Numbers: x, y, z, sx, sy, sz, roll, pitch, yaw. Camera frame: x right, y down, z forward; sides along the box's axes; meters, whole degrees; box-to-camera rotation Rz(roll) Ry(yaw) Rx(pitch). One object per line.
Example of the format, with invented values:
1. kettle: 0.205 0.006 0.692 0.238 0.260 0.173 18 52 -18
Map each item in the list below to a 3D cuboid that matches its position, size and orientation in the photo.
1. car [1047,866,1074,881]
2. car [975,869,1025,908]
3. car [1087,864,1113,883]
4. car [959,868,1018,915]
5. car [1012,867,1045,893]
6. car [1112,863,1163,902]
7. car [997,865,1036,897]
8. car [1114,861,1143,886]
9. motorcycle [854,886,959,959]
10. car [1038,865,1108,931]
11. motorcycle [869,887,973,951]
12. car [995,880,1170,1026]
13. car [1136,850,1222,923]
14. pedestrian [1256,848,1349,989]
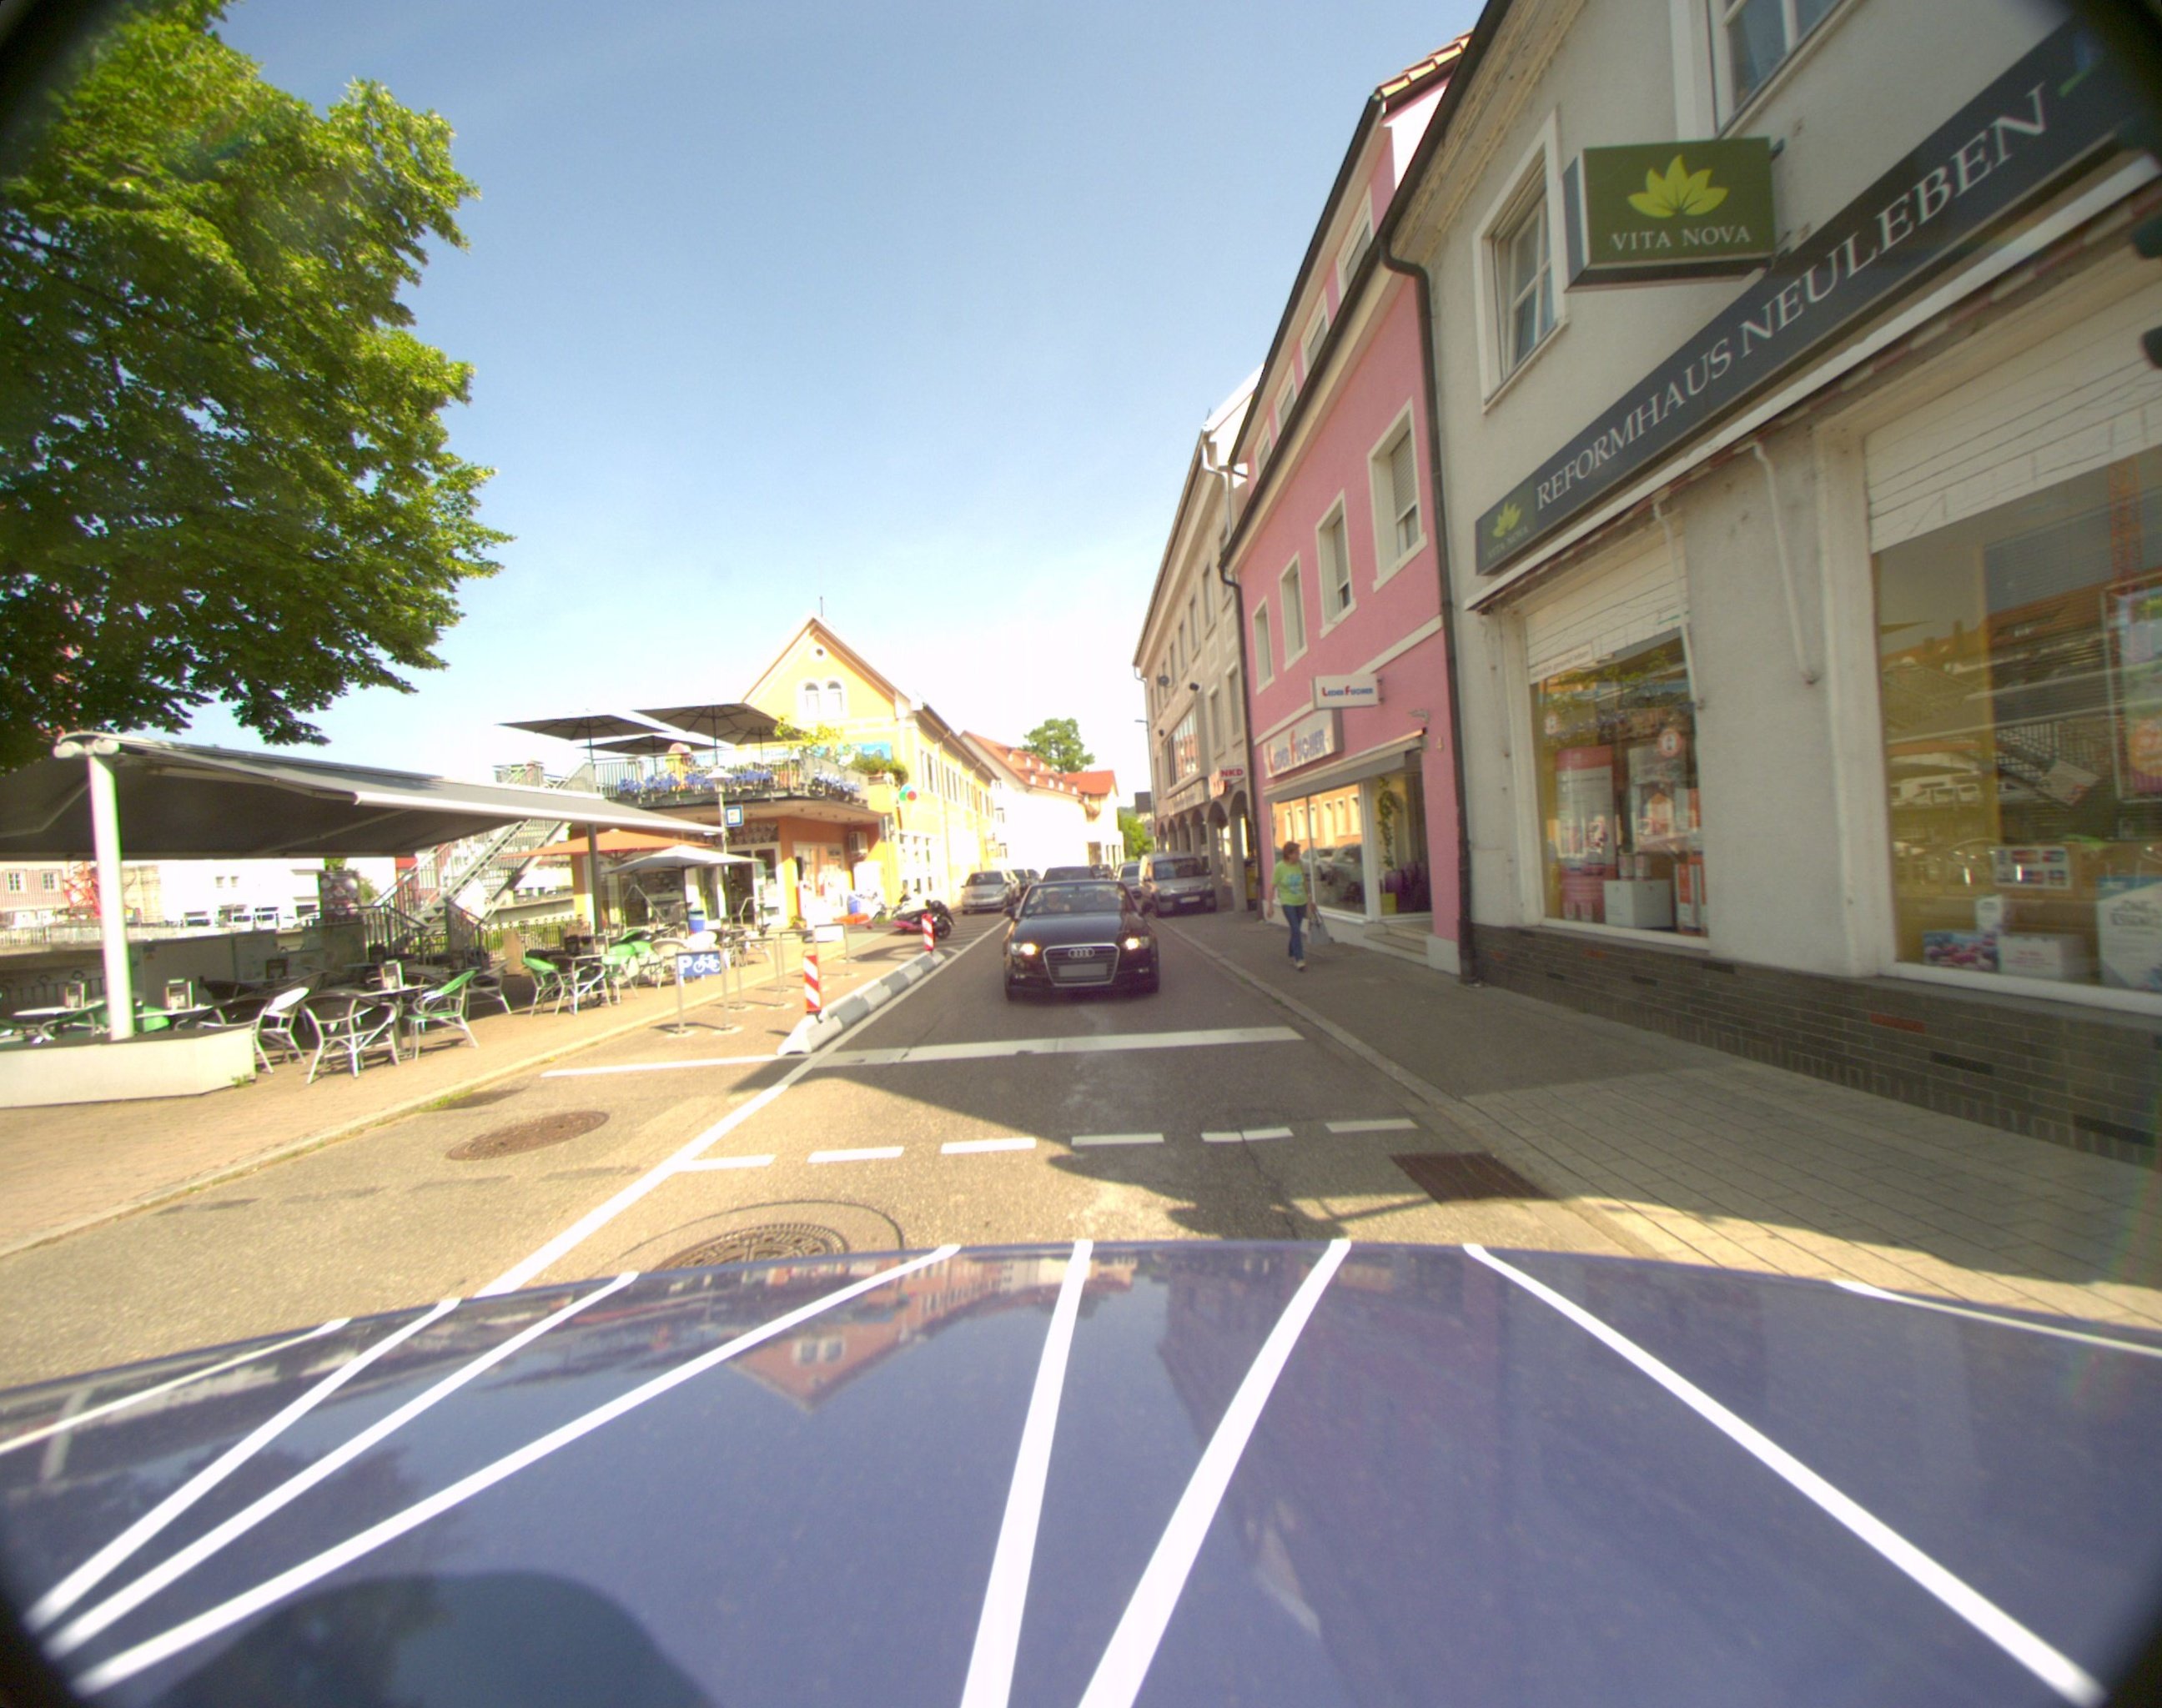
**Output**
1. car: -1.850 1.762 69.985 1.526 1.236 4.038 -3 -1 11
2. car: -3.665 1.536 34.981 1.683 1.549 4.104 -4 -1 1
3. car: 1.718 1.709 66.745 1.682 1.551 3.344 -3 -1 10
4. car: -3.569 1.410 30.000 1.750 1.587 4.594 -4 -1 -1
5. car: -3.334 1.631 48.736 1.683 1.530 4.187 -3 -1 1
6. car: 2.382 1.169 32.966 1.808 1.461 4.455 -4 -1 0
7. car: -3.553 1.488 42.753 1.683 1.635 4.252 -3 -1 1
8. car: 3.249 1.327 52.426 1.769 1.551 3.971 -3 -1 1
9. motorcycle: -3.719 1.419 16.238 1.903 1.350 0.915 -3 0 -35
10. car: -0.164 1.139 21.227 1.683 1.551 3.971 -3 -1 1
11. motorcycle: -3.664 1.463 17.527 2.094 1.262 0.927 -3 0 -40
12. car: 0.053 1.094 9.963 1.755 1.348 4.200 -3 -1 1
13. car: 2.696 0.878 21.823 1.711 1.729 4.146 -5 -1 -2
14. pedestrian: 2.769 0.783 9.602 0.788 1.622 0.859 -6 0 2
